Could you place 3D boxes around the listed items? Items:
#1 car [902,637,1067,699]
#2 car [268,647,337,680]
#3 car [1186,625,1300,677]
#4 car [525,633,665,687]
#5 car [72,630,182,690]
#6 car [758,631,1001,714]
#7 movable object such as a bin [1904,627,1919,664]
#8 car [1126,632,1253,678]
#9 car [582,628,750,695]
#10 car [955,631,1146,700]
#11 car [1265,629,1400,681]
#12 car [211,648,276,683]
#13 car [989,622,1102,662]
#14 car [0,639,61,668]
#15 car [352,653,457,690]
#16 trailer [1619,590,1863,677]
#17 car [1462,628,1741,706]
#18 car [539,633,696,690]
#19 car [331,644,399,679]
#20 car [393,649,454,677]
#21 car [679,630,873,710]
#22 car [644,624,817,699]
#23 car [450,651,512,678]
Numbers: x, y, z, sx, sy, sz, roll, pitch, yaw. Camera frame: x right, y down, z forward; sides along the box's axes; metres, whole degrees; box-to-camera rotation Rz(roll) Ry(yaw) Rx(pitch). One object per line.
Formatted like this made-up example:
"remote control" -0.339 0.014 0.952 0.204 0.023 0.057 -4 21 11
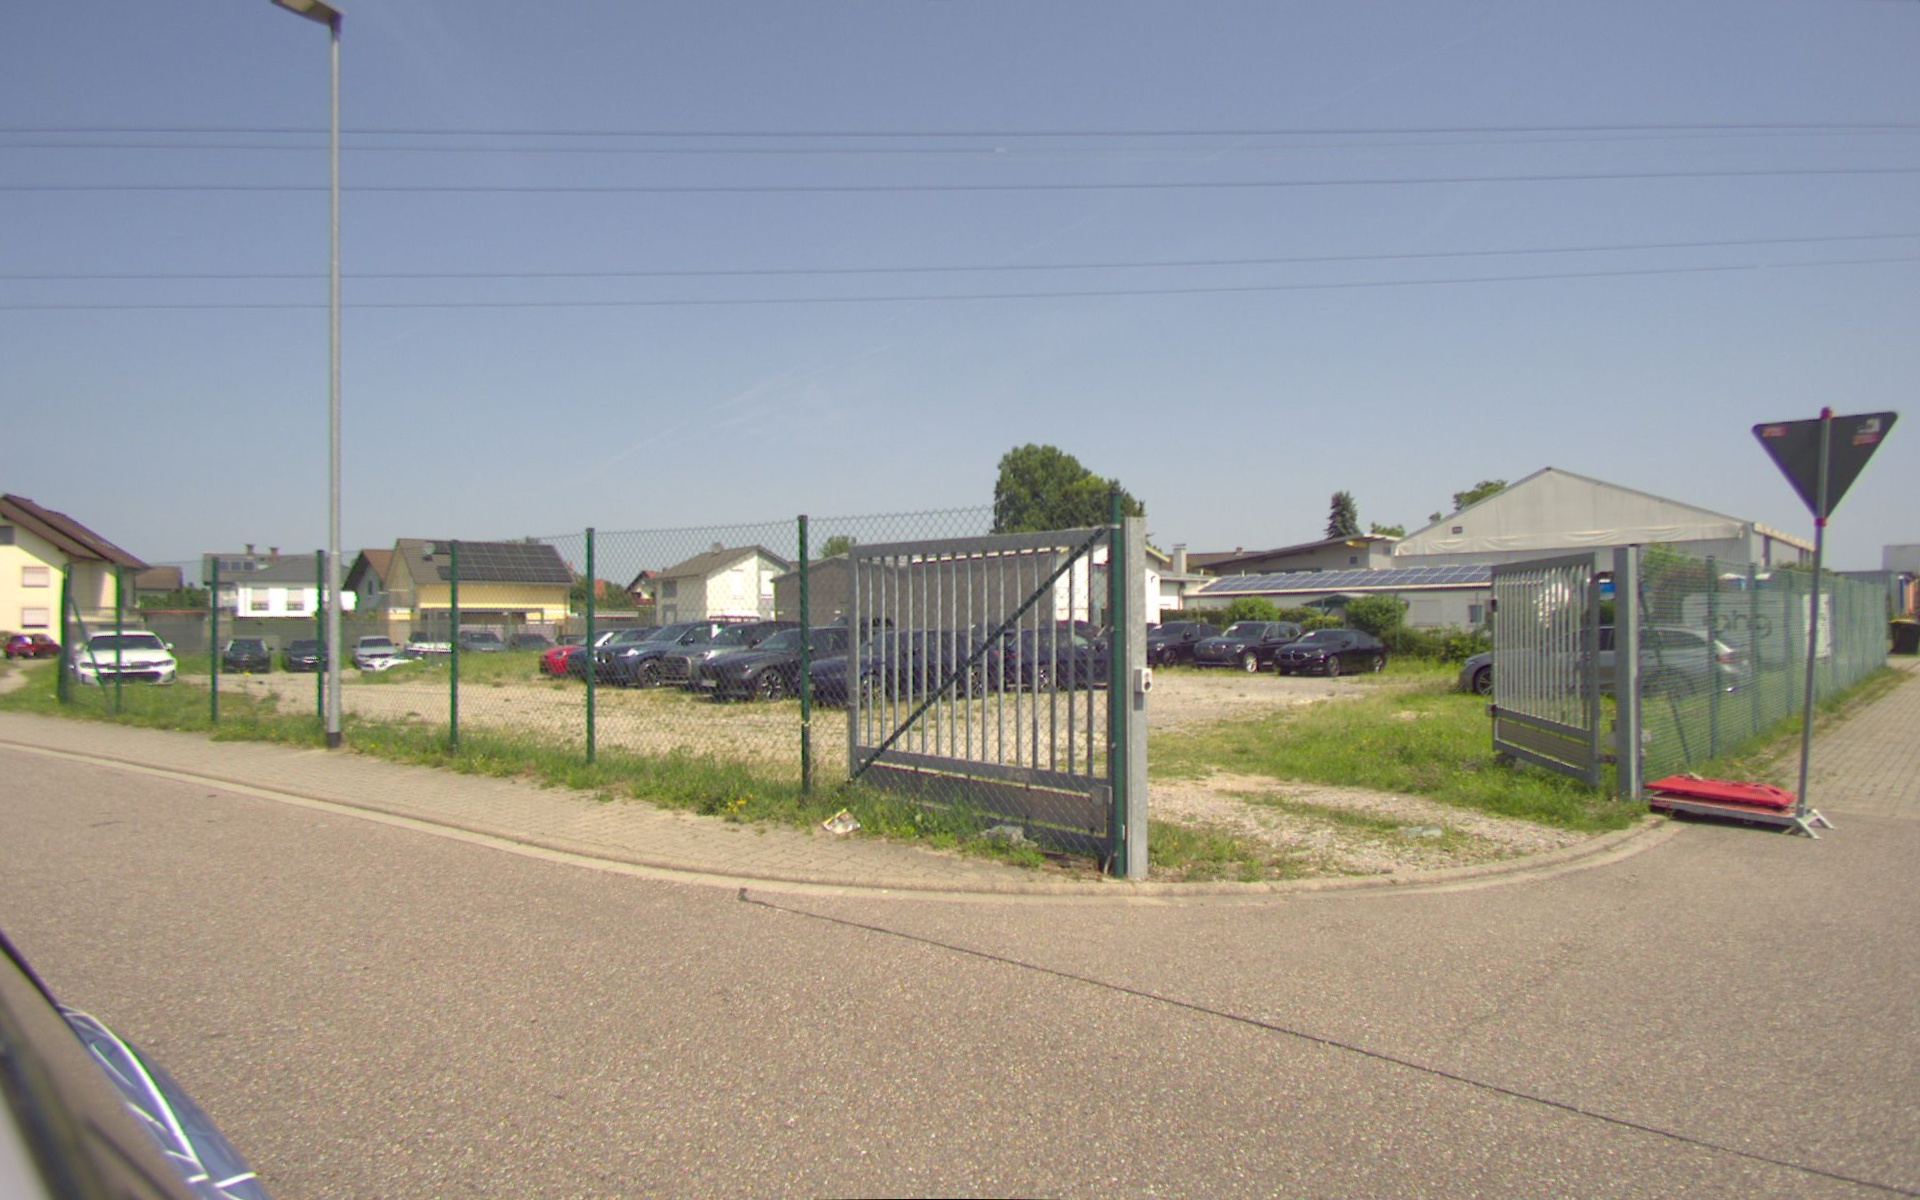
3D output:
"car" 0.669 1.675 25.981 3.937 1.431 2.003 1 -2 -41
"car" -30.512 2.921 46.900 2.011 1.353 4.422 2 -2 -42
"car" 9.051 1.589 32.262 3.713 1.566 1.870 2 -2 -43
"car" -10.659 1.715 29.620 3.389 1.464 1.870 2 -2 -43
"car" -20.227 1.380 24.503 1.840 1.317 4.568 2 -2 -42
"car" -1.507 1.354 20.132 4.595 1.446 2.004 2 -2 -43
"movable object such as a bin" 29.811 1.411 31.363 0.748 1.143 0.927 -2 -2 42
"car" 7.853 1.800 34.410 4.595 1.446 2.004 2 -2 -43
"car" -7.407 1.500 25.672 3.641 1.573 1.870 2 -2 -43
"car" 2.190 1.476 23.984 4.351 1.446 2.005 1 -2 -39
"car" 11.351 1.613 30.726 4.595 1.446 2.004 2 -2 -43
"car" -32.143 2.896 45.352 1.840 1.381 4.568 2 -2 -42
"car" 3.408 1.613 39.620 4.534 1.444 1.870 2 -2 -43
"car" -60.742 3.472 66.137 1.834 1.741 4.148 1 -2 -25
"car" -21.893 2.794 39.928 3.339 1.325 1.661 2 -2 -41
"trailer" 19.254 0.823 25.204 1.684 1.960 4.476 0 -2 -28
"car" 11.651 1.170 18.612 1.216 1.270 4.146 1 -2 -43
"car" -9.302 1.618 27.616 3.593 1.444 1.870 2 -2 -43
"car" -28.841 2.921 49.007 2.011 1.548 4.140 2 -2 -42
"car" -27.011 3.138 50.930 1.766 1.245 4.140 2 -2 -42
"car" -3.912 1.425 21.809 3.713 1.566 1.870 2 -2 -43
"car" -5.427 1.408 24.130 3.579 1.656 1.870 2 -2 -43
"car" -24.831 3.308 52.429 1.766 1.245 4.140 2 -2 -42
